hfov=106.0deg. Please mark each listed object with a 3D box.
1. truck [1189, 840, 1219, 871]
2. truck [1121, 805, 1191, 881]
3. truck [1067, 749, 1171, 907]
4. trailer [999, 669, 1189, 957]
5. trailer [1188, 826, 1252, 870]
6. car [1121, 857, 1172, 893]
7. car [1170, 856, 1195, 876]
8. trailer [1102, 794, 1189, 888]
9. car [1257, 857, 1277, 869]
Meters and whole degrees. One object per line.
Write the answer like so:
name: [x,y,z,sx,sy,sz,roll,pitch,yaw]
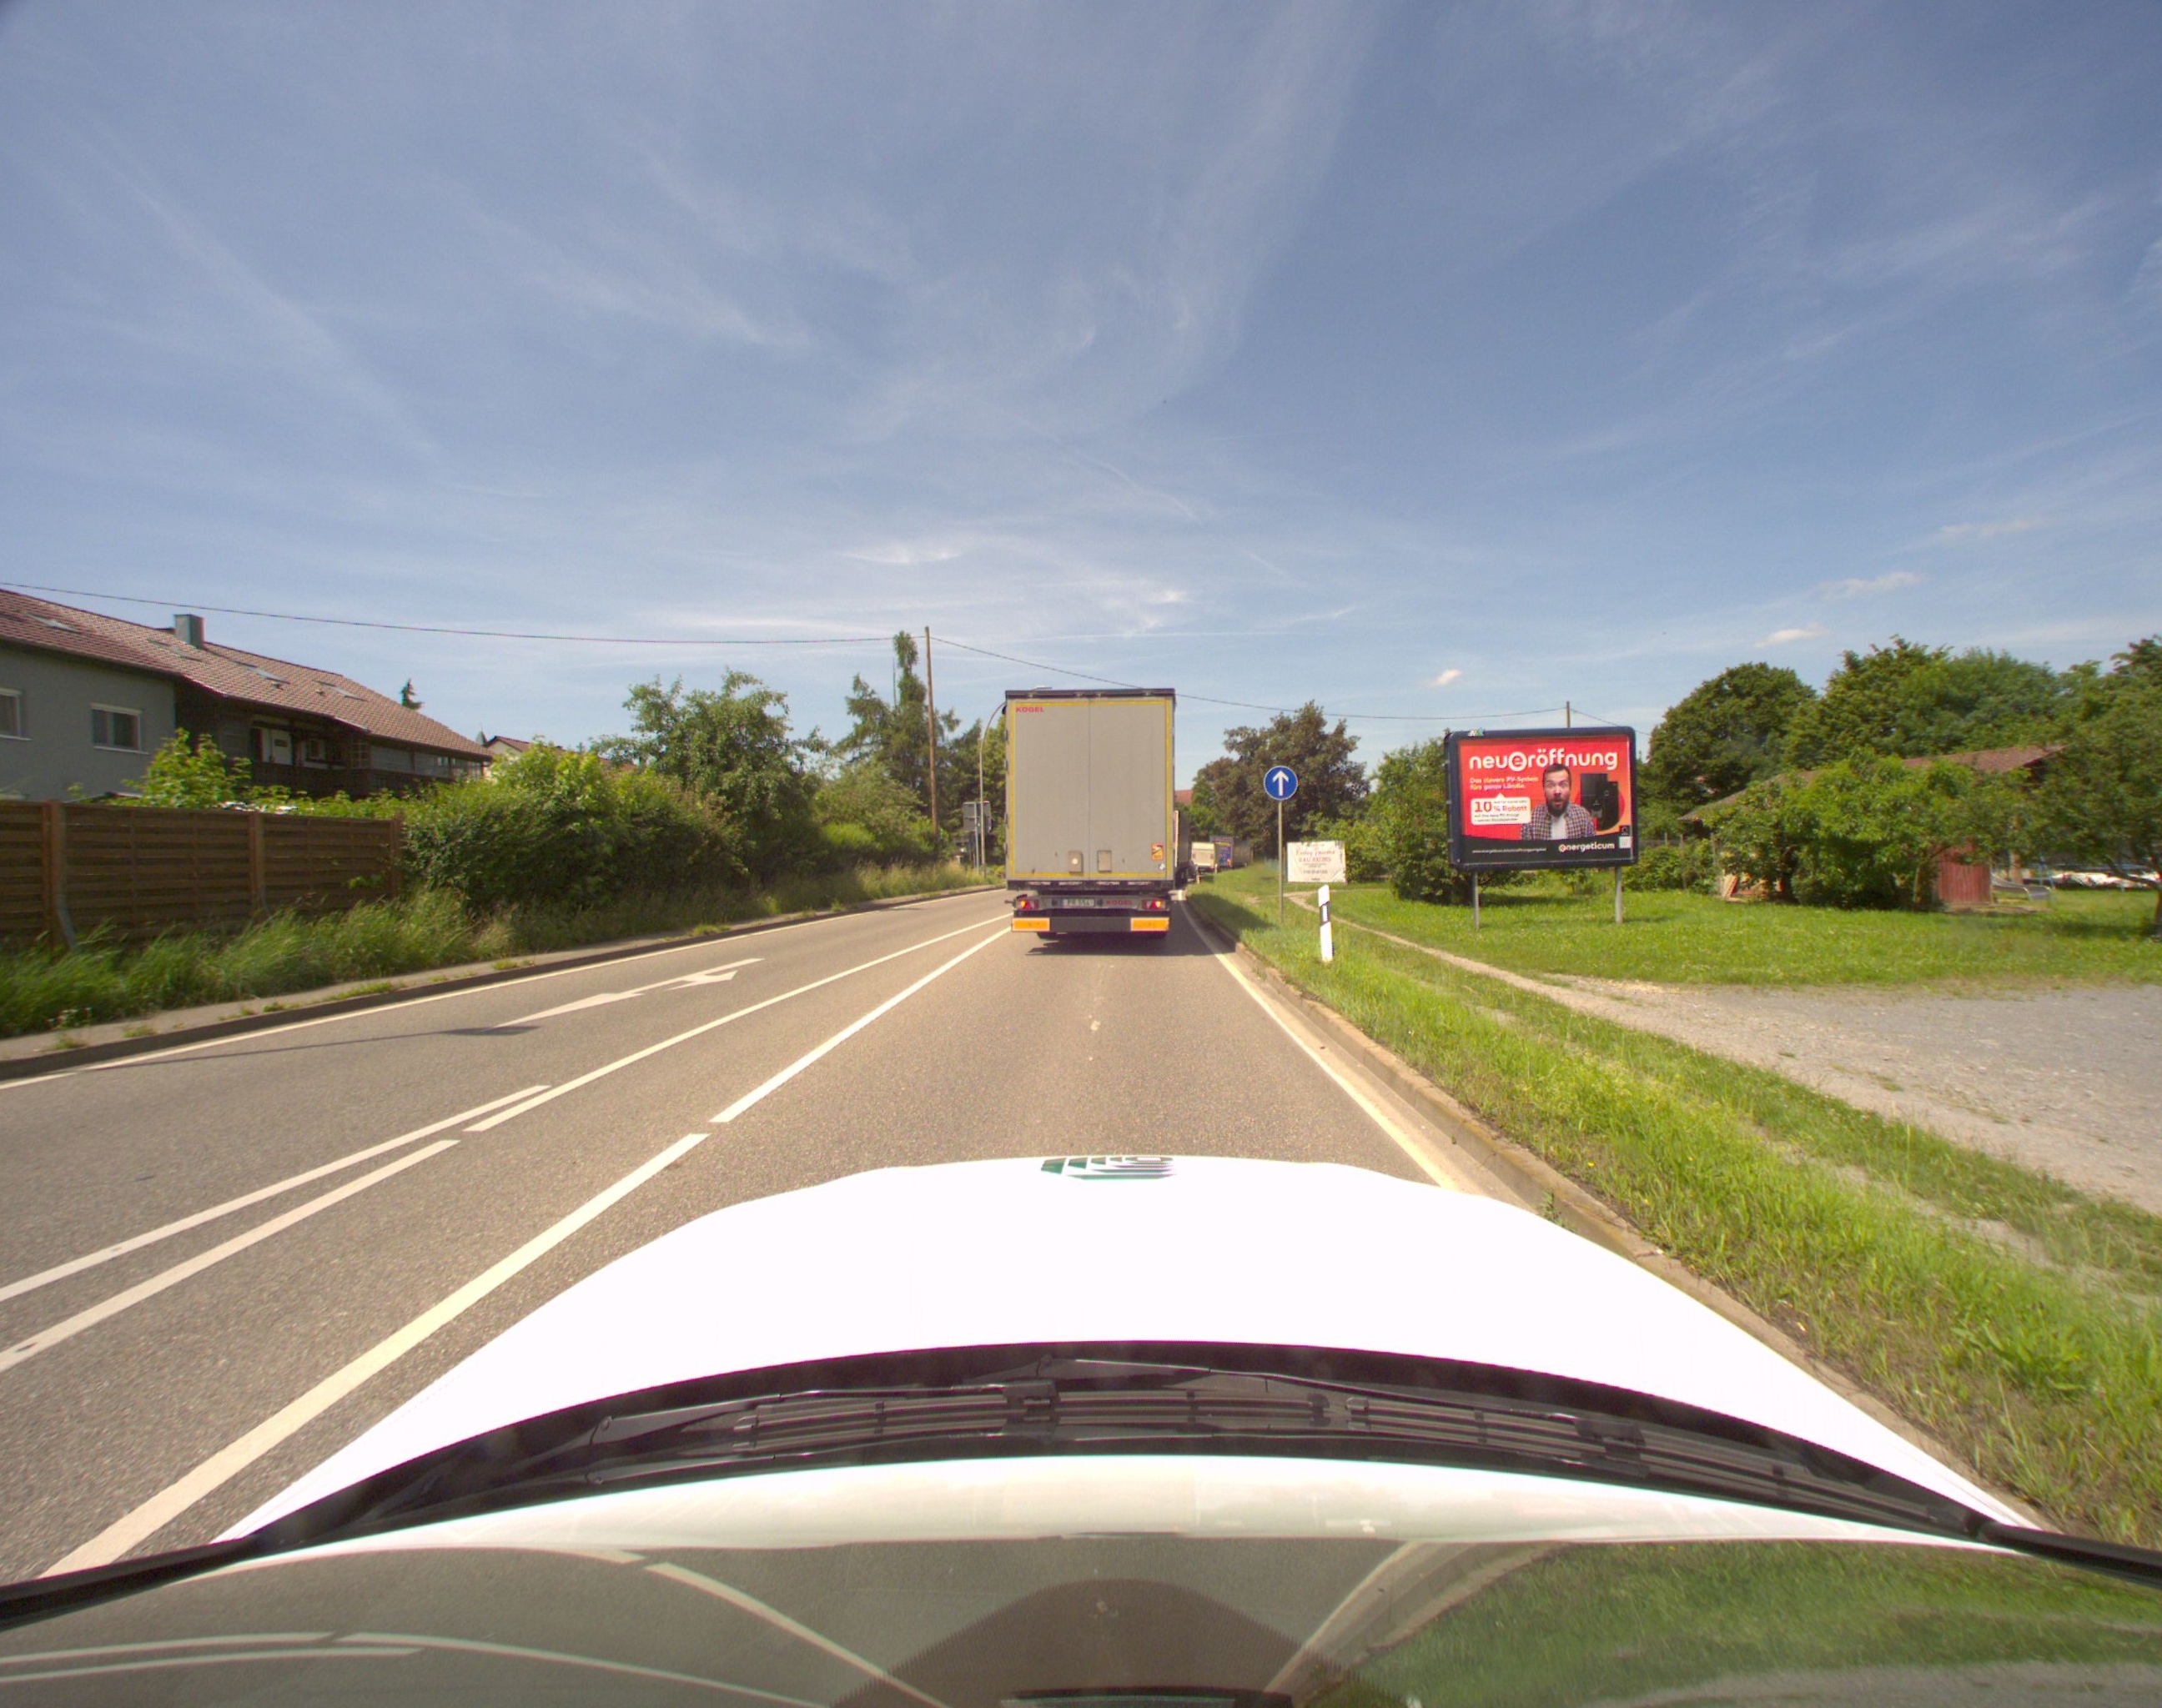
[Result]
truck: [11.669,0.107,76.794,2.404,2.838,5.431,0,0,12]
truck: [5.024,-0.649,52.832,3.913,4.575,7.171,-1,0,9]
truck: [1.294,-0.699,24.694,2.733,4.165,6.152,-1,0,5]
trailer: [0.703,-0.639,18.031,2.774,4.205,12.128,-1,0,5]
trailer: [16.335,-0.743,94.308,5.139,4.628,15.968,-1,0,17]
car: [3.002,0.905,36.578,1.982,1.530,4.009,0,0,8]
car: [8.085,0.950,64.844,1.830,1.486,4.010,-1,0,8]
trailer: [3.983,-0.603,46.191,3.868,4.521,12.745,-1,0,9]
car: [26.825,1.248,117.124,1.975,1.684,4.023,0,0,25]
